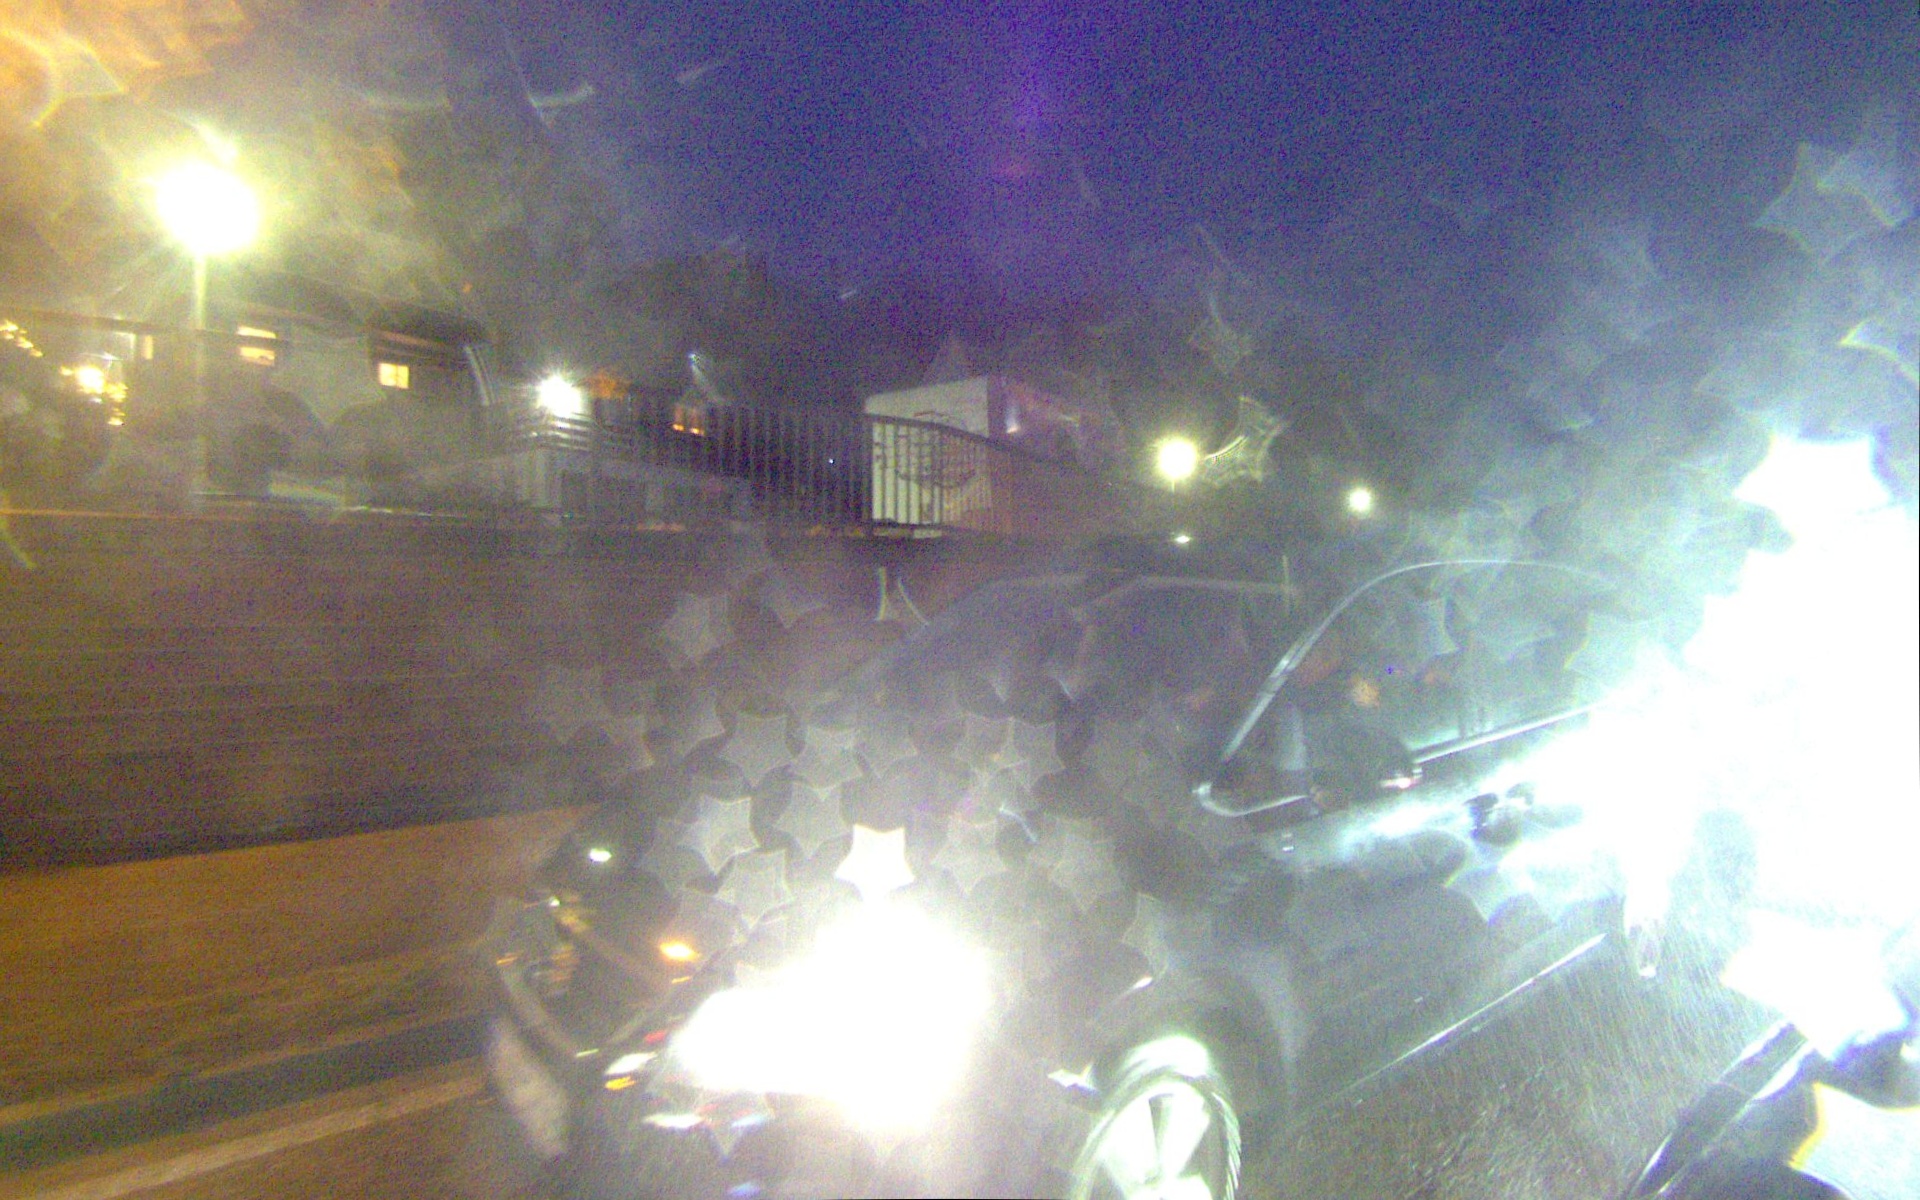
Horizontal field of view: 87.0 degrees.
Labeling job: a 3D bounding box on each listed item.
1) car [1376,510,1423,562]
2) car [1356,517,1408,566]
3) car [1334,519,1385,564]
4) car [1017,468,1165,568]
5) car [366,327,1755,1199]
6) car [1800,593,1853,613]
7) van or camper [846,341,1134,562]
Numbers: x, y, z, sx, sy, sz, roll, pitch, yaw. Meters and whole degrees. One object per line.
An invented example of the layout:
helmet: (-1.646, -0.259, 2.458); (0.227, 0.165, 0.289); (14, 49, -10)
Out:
car: (25.809, -3.704, 59.348); (1.922, 2.809, 4.206); (0, 0, 32)
car: (22.921, -3.130, 54.835); (1.922, 2.451, 4.206); (0, 0, 32)
car: (19.893, -2.860, 50.343); (1.721, 2.039, 3.658); (0, 0, 32)
car: (3.160, -1.822, 23.855); (1.985, 2.039, 3.954); (0, 0, 32)
car: (0.916, 0.529, 3.446); (4.853, 1.757, 1.838); (-1, 0, -40)
car: (92.544, 0.292, 108.111); (1.960, 2.039, 4.005); (0, 0, -6)
van or camper: (0.761, -2.136, 16.838); (2.394, 2.828, 5.712); (0, 0, 30)
